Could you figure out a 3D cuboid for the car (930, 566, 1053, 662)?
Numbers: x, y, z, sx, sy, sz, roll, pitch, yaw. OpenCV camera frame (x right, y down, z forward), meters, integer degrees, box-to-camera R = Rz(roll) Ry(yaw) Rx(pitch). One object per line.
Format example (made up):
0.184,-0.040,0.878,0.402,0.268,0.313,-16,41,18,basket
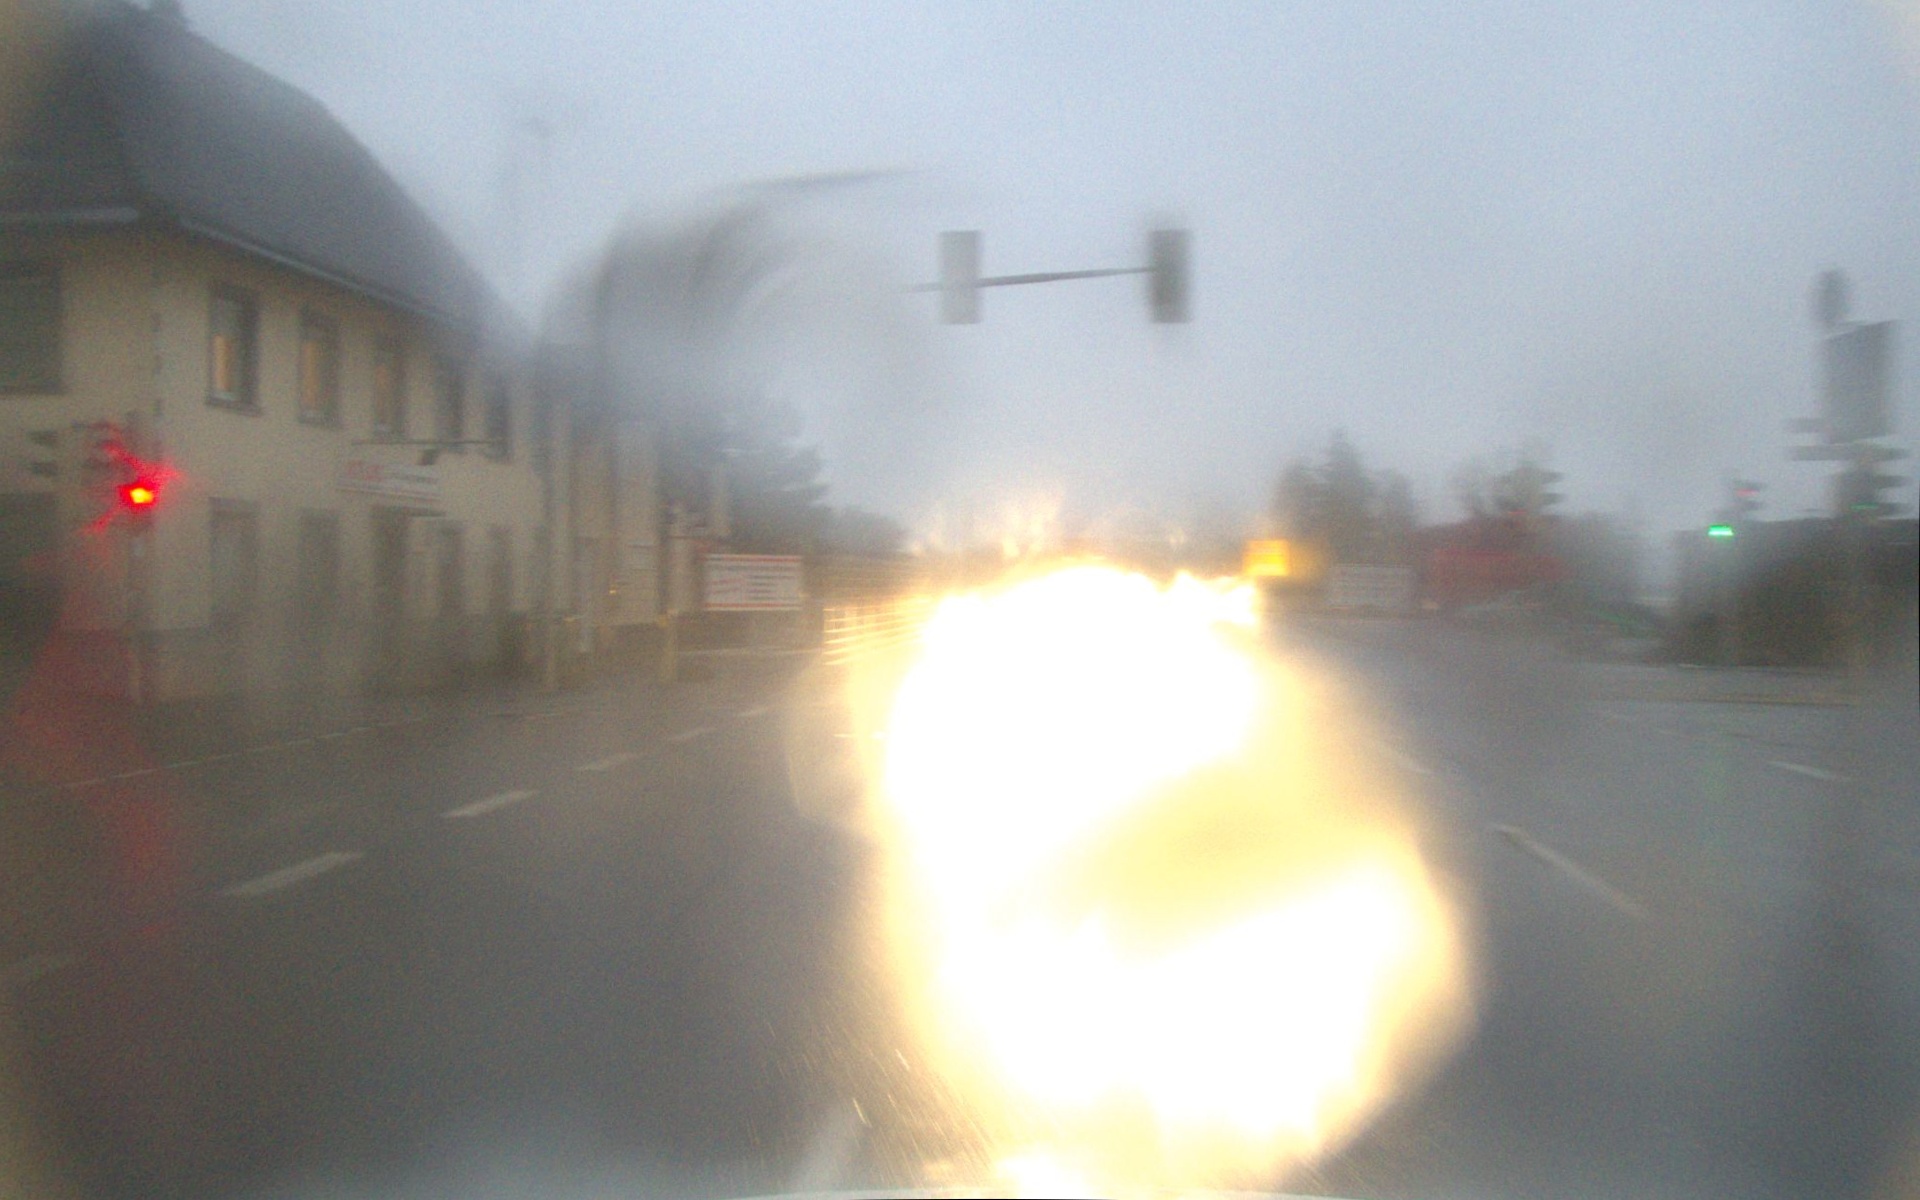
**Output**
0.699,0.248,33.297,1.951,1.777,4.004,-1,0,9,car

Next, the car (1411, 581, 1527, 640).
18.476,0.370,60.208,3.902,2.049,2.002,-1,0,15,car

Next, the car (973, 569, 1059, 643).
1.467,0.117,42.074,1.788,1.800,3.756,0,1,8,car

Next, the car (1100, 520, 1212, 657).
4.733,-0.261,39.734,2.350,2.942,6.255,2,0,7,car

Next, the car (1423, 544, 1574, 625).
20.568,-0.592,63.294,5.146,2.920,1.777,-1,0,-1,car

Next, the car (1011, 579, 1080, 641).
2.566,0.293,48.995,1.685,1.753,3.931,-1,-1,8,car

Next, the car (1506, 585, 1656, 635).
20.807,0.326,55.557,4.430,1.557,1.779,-1,0,10,car
